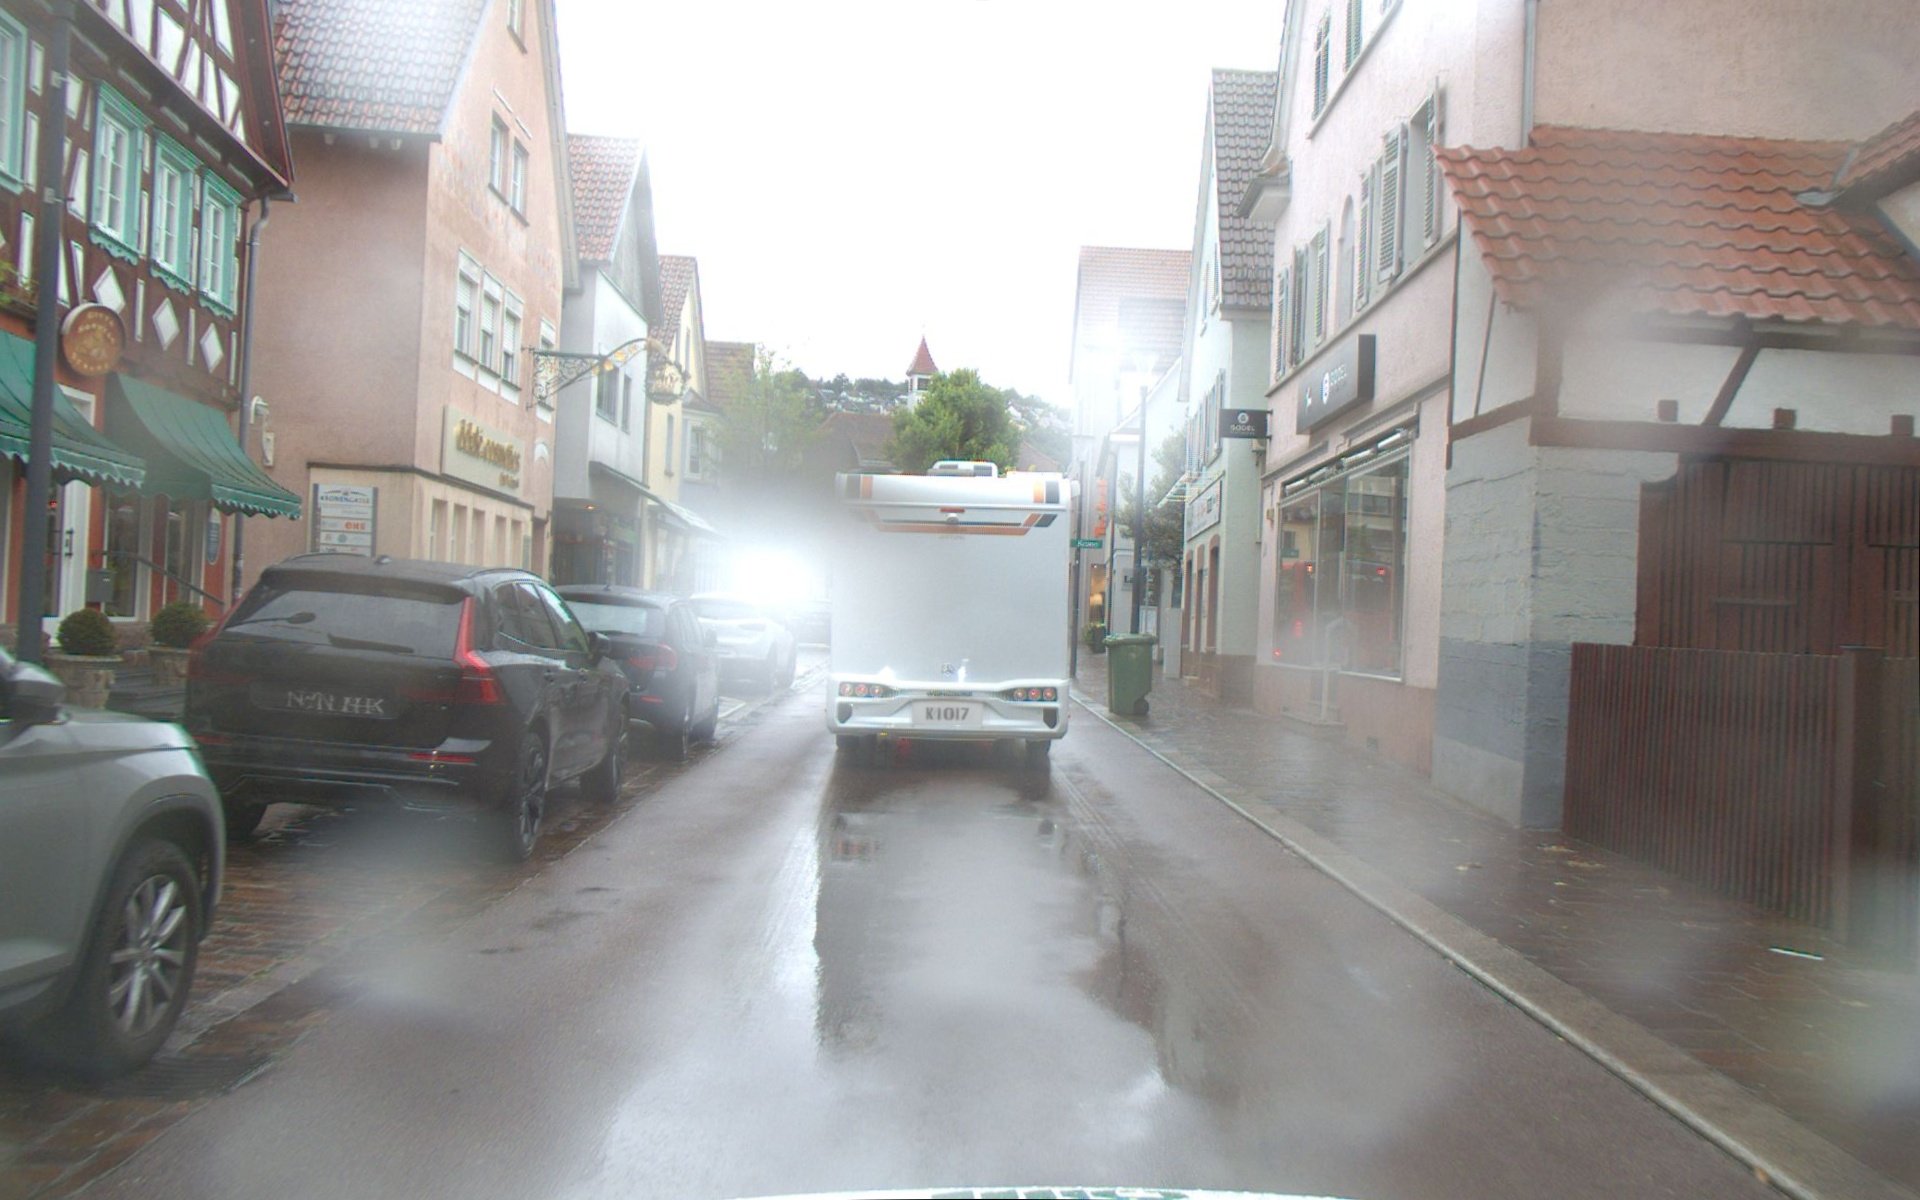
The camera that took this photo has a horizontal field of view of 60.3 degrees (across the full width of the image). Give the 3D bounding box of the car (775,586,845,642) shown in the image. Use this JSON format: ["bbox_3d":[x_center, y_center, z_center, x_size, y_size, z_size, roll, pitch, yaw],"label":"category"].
[{"bbox_3d":[-4.497,0.404,49.279,1.955,1.497,3.995,3,0,-6],"label":"car"}]

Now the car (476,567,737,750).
[{"bbox_3d":[-3.432,0.570,16.852,1.796,1.579,4.280,2,-1,-2],"label":"car"}]

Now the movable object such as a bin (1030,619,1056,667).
[{"bbox_3d":[2.279,1.175,45.262,0.645,1.267,0.542,2,-2,-2],"label":"movable object such as a bin"}]

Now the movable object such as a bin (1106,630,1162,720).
[{"bbox_3d":[2.408,1.033,22.942,0.704,1.222,0.573,1,-2,1],"label":"movable object such as a bin"}]

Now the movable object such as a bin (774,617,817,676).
[{"bbox_3d":[-3.230,0.912,32.439,0.799,1.125,0.609,2,-2,-6],"label":"movable object such as a bin"}]

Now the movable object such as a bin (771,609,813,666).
[{"bbox_3d":[-3.547,0.788,34.999,0.799,1.125,0.609,5,-2,-6],"label":"movable object such as a bin"}]

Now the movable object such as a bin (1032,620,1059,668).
[{"bbox_3d":[2.300,1.180,44.676,0.645,1.260,0.621,2,-2,-2],"label":"movable object such as a bin"}]

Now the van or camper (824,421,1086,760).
[{"bbox_3d":[-0.227,-0.011,17.984,2.280,2.970,6.388,2,-1,-3],"label":"van or camper"}]

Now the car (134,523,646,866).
[{"bbox_3d":[-3.334,0.536,10.719,1.796,1.704,4.538,2,-1,-2],"label":"car"}]

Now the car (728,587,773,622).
[{"bbox_3d":[-13.012,0.280,102.535,1.963,2.049,3.978,2,-1,-19],"label":"car"}]

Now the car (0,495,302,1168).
[{"bbox_3d":[-3.275,0.534,3.620,1.735,1.704,4.479,3,-1,1],"label":"car"}]

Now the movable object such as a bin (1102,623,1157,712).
[{"bbox_3d":[2.411,0.955,23.552,0.704,1.222,0.578,1,-2,1],"label":"movable object such as a bin"}]

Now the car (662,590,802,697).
[{"bbox_3d":[-3.694,0.720,27.441,1.790,1.594,3.998,2,-1,-1],"label":"car"}]

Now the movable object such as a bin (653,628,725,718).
[{"bbox_3d":[-3.423,0.911,20.910,0.732,1.101,0.763,1,-1,2],"label":"movable object such as a bin"}]
